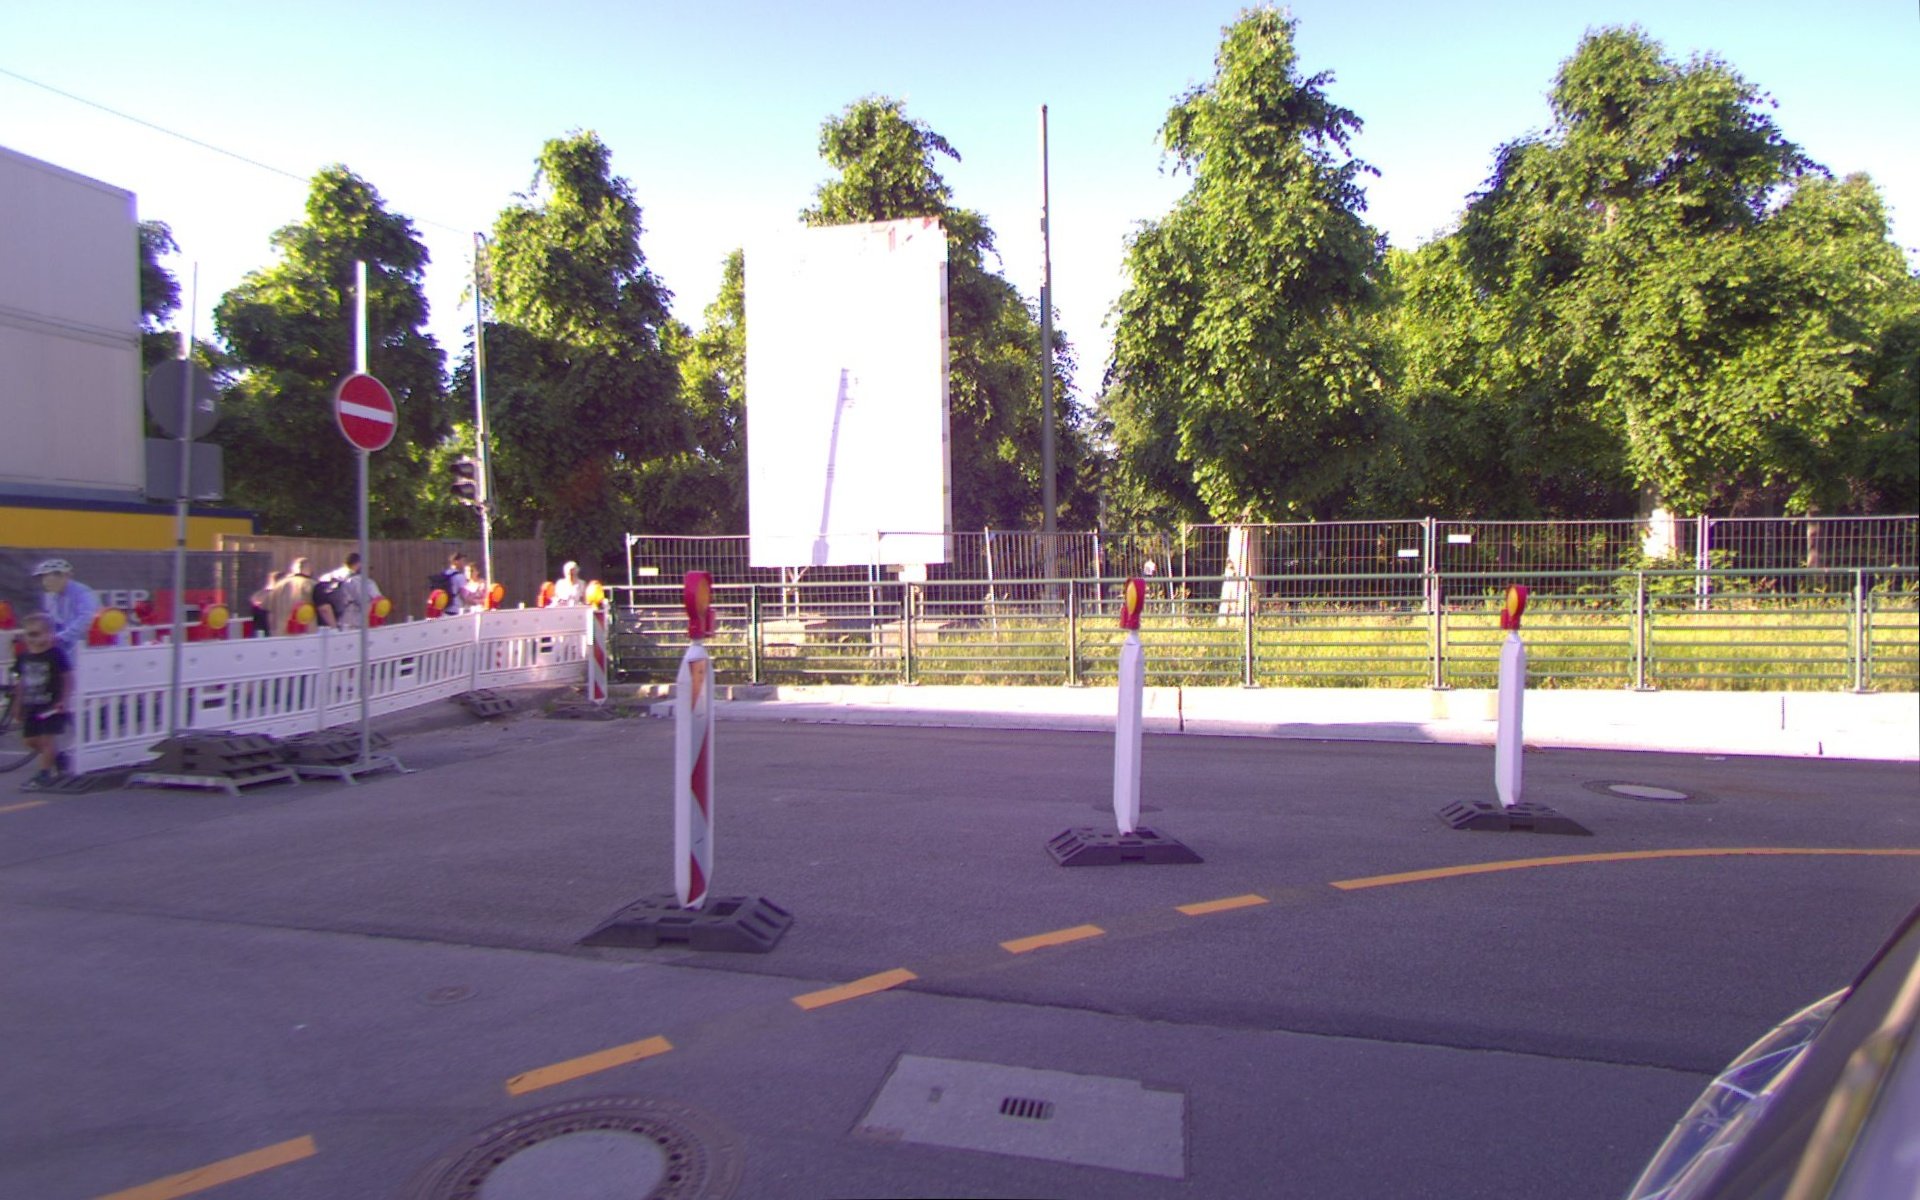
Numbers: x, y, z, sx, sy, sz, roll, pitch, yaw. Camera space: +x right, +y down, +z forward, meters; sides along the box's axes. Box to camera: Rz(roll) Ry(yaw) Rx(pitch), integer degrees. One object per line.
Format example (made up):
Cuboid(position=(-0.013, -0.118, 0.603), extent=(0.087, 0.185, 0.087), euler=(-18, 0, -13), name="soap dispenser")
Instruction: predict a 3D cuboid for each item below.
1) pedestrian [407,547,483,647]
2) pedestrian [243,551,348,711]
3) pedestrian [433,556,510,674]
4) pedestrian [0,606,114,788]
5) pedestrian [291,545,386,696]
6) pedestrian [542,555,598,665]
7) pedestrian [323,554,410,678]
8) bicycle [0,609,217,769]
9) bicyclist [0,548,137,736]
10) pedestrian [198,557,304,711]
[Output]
Cuboid(position=(-7.858, -0.059, 15.467), extent=(0.656, 1.480, 0.767), euler=(0, 3, 15), name="pedestrian")
Cuboid(position=(-7.505, 0.317, 11.454), extent=(0.613, 1.736, 0.736), euler=(0, 3, 15), name="pedestrian")
Cuboid(position=(-6.950, 0.197, 14.426), extent=(0.634, 1.623, 0.736), euler=(0, 3, 15), name="pedestrian")
Cuboid(position=(-6.970, 0.706, 7.708), extent=(0.486, 1.316, 0.617), euler=(0, -1, 14), name="pedestrian")
Cuboid(position=(-7.609, 0.223, 12.411), extent=(0.613, 1.792, 0.736), euler=(0, 3, 15), name="pedestrian")
Cuboid(position=(-5.868, 0.126, 15.208), extent=(0.652, 1.585, 0.746), euler=(-2, 3, -30), name="pedestrian")
Cuboid(position=(-8.128, 0.191, 13.884), extent=(0.656, 1.638, 0.767), euler=(0, 3, 15), name="pedestrian")
Cuboid(position=(-7.631, 0.723, 8.729), extent=(0.472, 1.216, 1.982), euler=(0, 1, 25), name="bicycle")
Cuboid(position=(-7.708, 0.334, 8.744), extent=(0.679, 1.535, 0.697), euler=(0, 1, 27), name="bicyclist")
Cuboid(position=(-8.575, 0.382, 12.264), extent=(0.713, 1.792, 0.736), euler=(0, 3, 15), name="pedestrian")
